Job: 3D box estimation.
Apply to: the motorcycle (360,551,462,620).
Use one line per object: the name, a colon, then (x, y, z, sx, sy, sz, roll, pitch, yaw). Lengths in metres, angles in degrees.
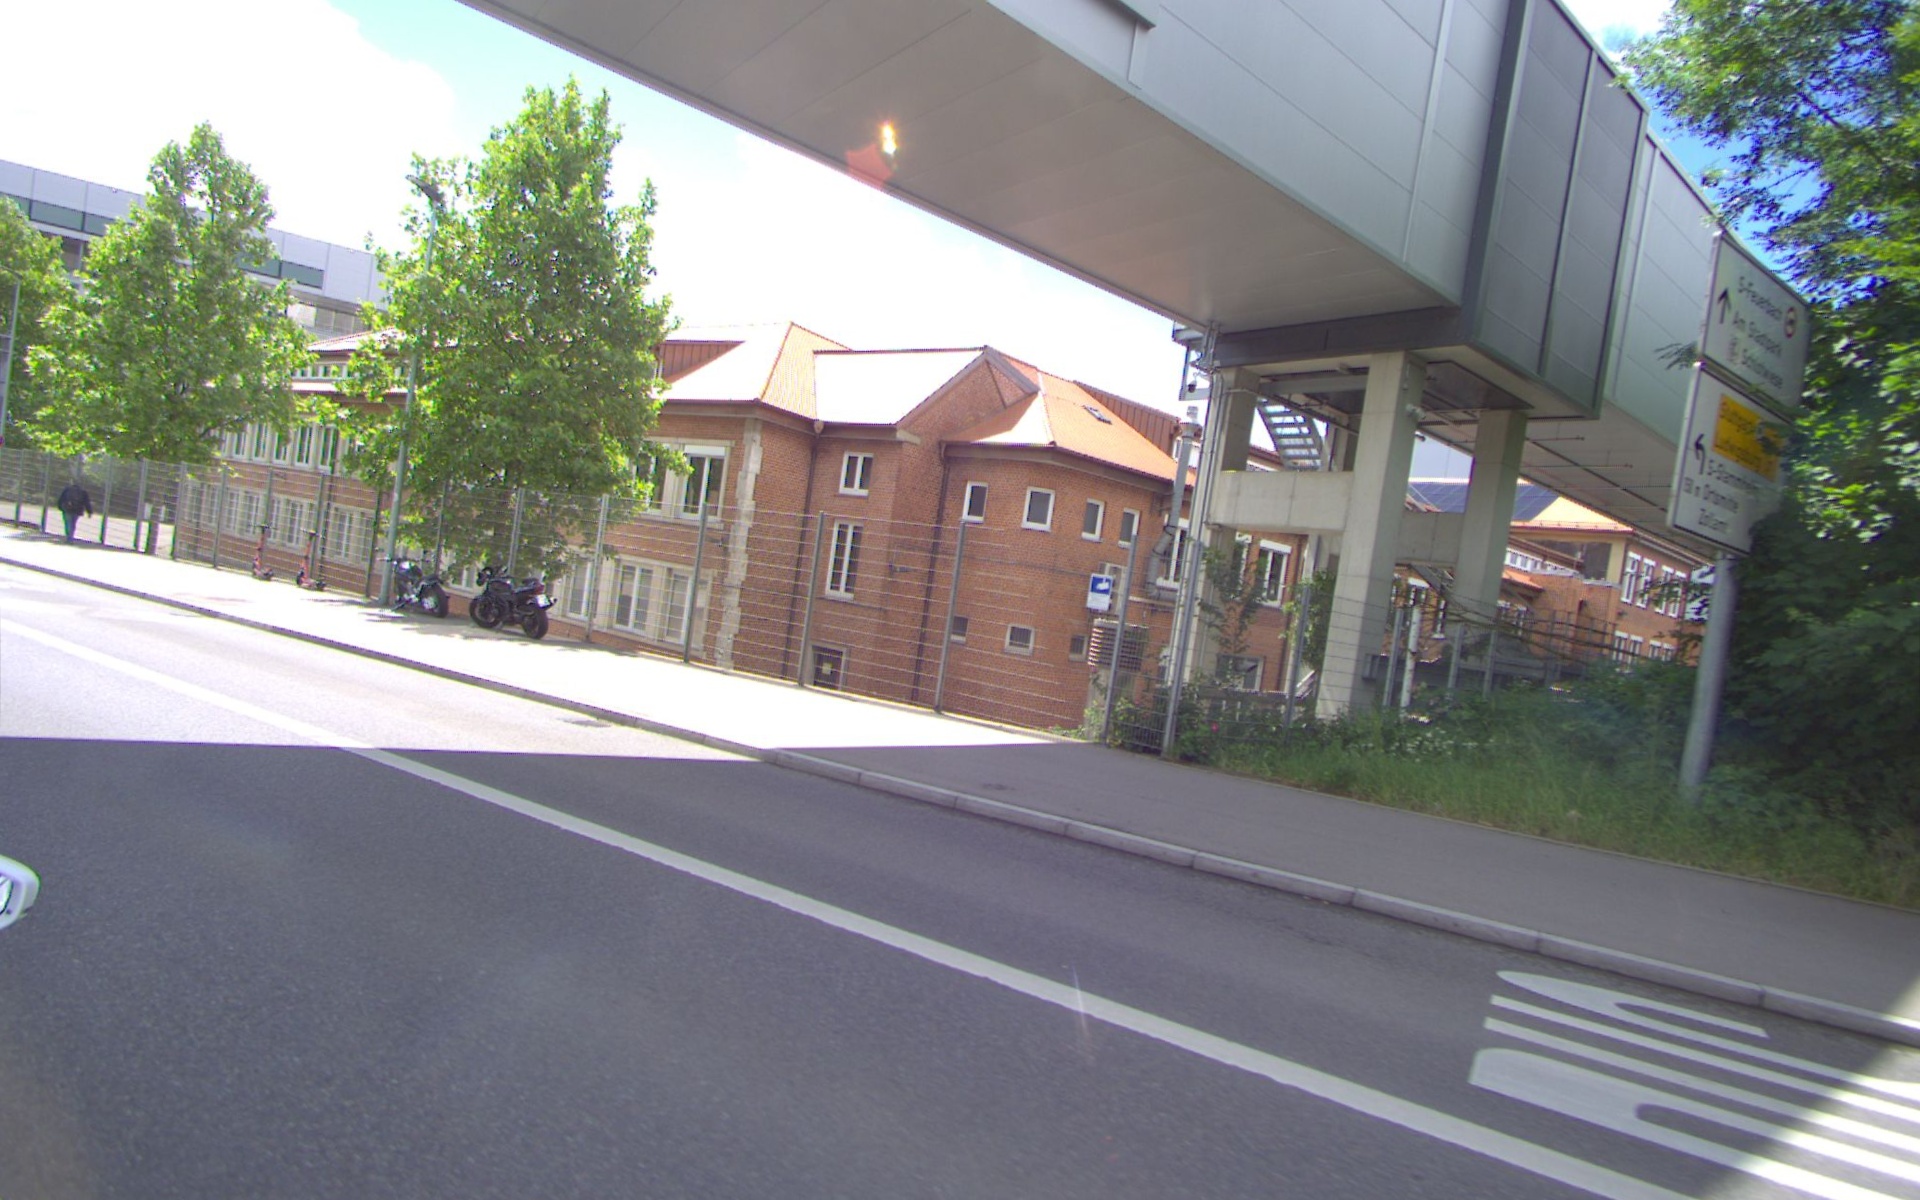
motorcycle: (-10.488, -0.288, 19.201, 2.210, 1.078, 0.668, 7, 3, 32)

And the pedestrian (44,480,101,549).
pedestrian: (-24.830, -2.384, 28.151, 0.925, 1.766, 0.877, 7, 2, 32)

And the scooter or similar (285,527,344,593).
scooter or similar: (-14.182, -0.880, 22.085, 1.314, 1.311, 0.491, 7, 2, 32)

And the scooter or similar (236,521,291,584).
scooter or similar: (-16.178, -1.112, 23.356, 1.314, 1.311, 0.491, 7, 2, 32)

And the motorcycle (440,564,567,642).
motorcycle: (-7.956, 0.044, 17.480, 2.469, 1.078, 0.707, 7, 3, 32)
